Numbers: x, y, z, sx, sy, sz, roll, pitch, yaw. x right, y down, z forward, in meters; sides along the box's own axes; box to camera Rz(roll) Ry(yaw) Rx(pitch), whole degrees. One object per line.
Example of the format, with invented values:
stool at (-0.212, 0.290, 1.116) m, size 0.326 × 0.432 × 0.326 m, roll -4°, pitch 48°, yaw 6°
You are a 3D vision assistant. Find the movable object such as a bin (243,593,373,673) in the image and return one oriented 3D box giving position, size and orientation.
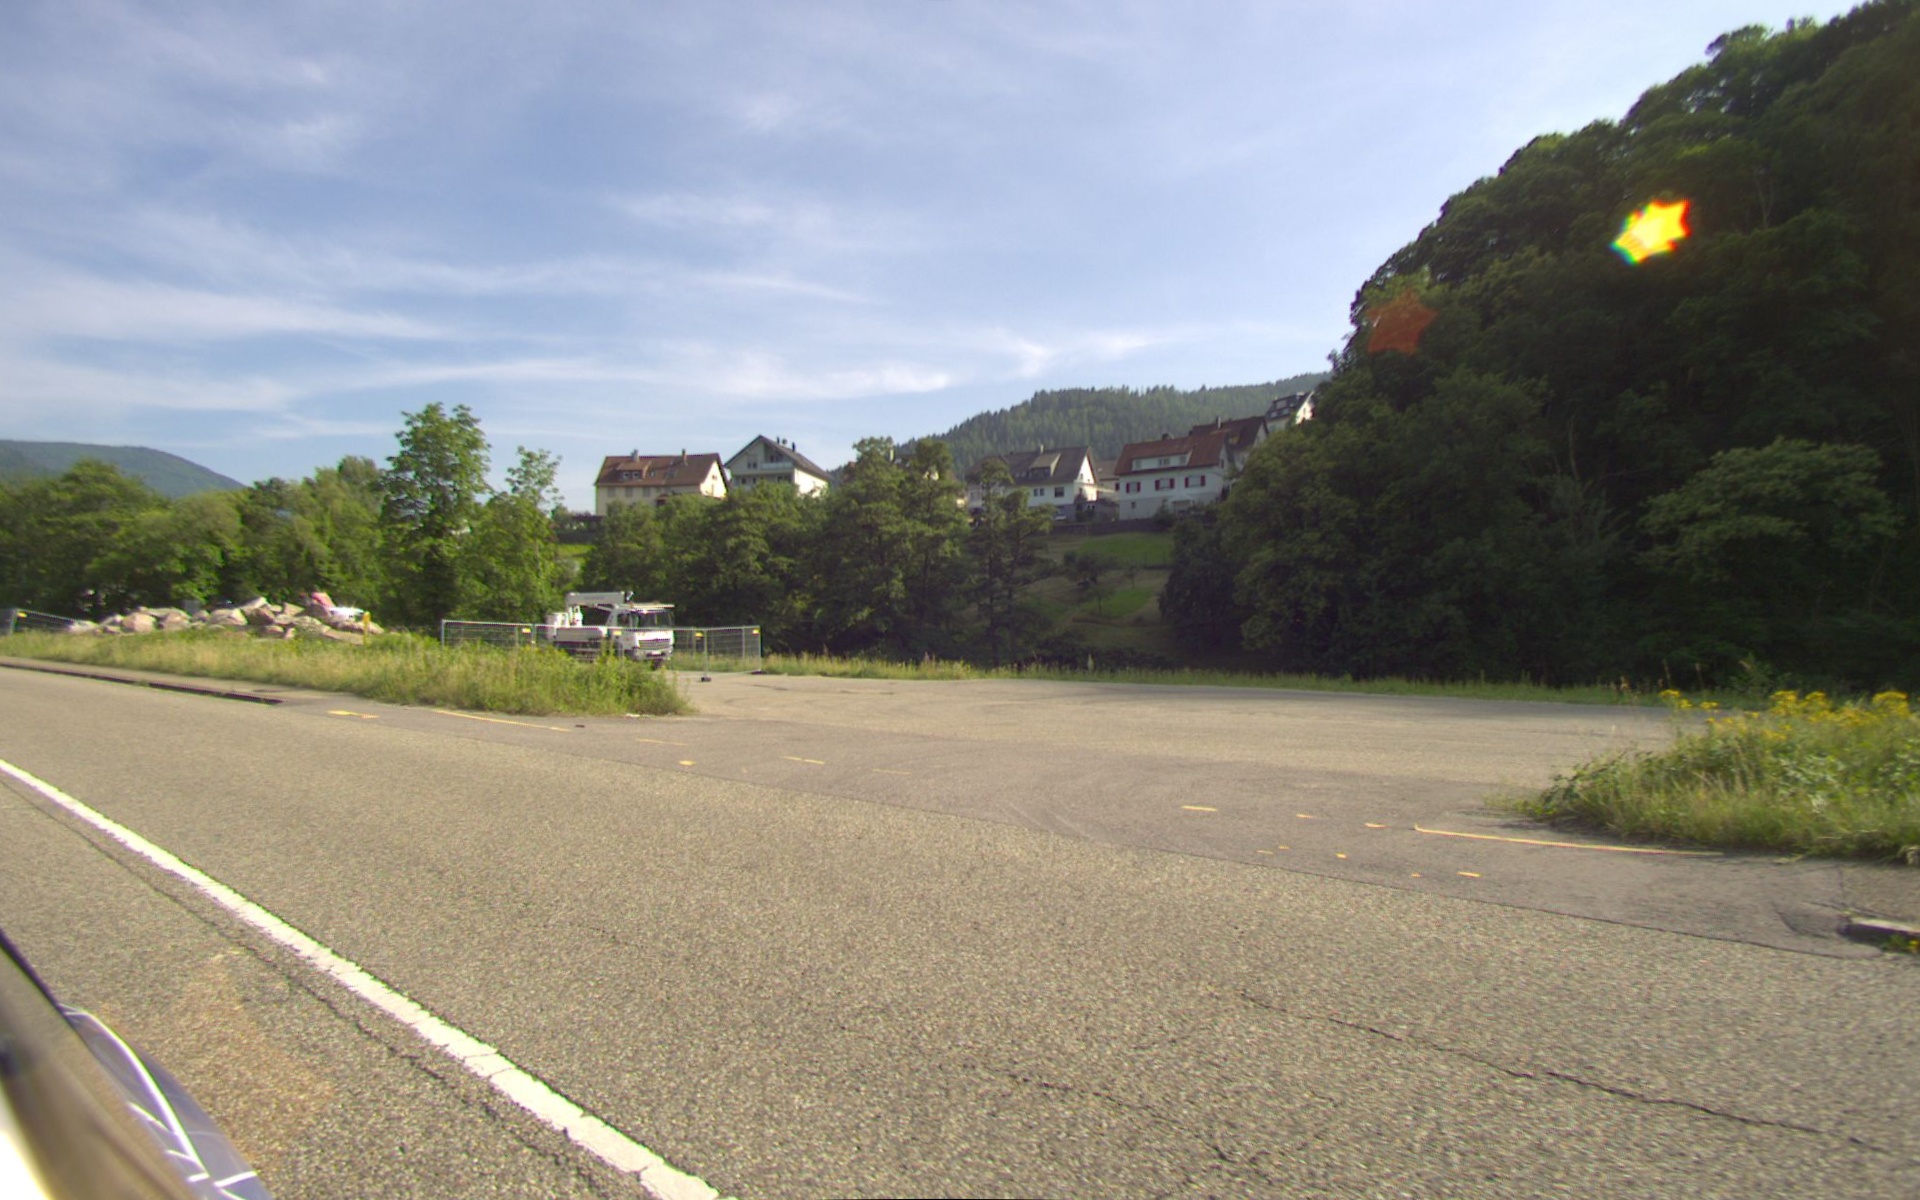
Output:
movable object such as a bin at (-34.407, 1.765, 53.331) m, size 7.203 × 3.977 × 2.701 m, roll -1°, pitch -4°, yaw 31°

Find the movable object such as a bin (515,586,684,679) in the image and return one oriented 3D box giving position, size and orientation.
movable object such as a bin at (-16.518, 1.501, 46.208) m, size 7.780 × 3.977 × 2.877 m, roll -1°, pitch -4°, yaw 31°

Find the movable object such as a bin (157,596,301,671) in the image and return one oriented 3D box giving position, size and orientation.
movable object such as a bin at (-41.784, 1.892, 57.720) m, size 9.951 × 3.977 × 2.680 m, roll -1°, pitch -4°, yaw 31°
